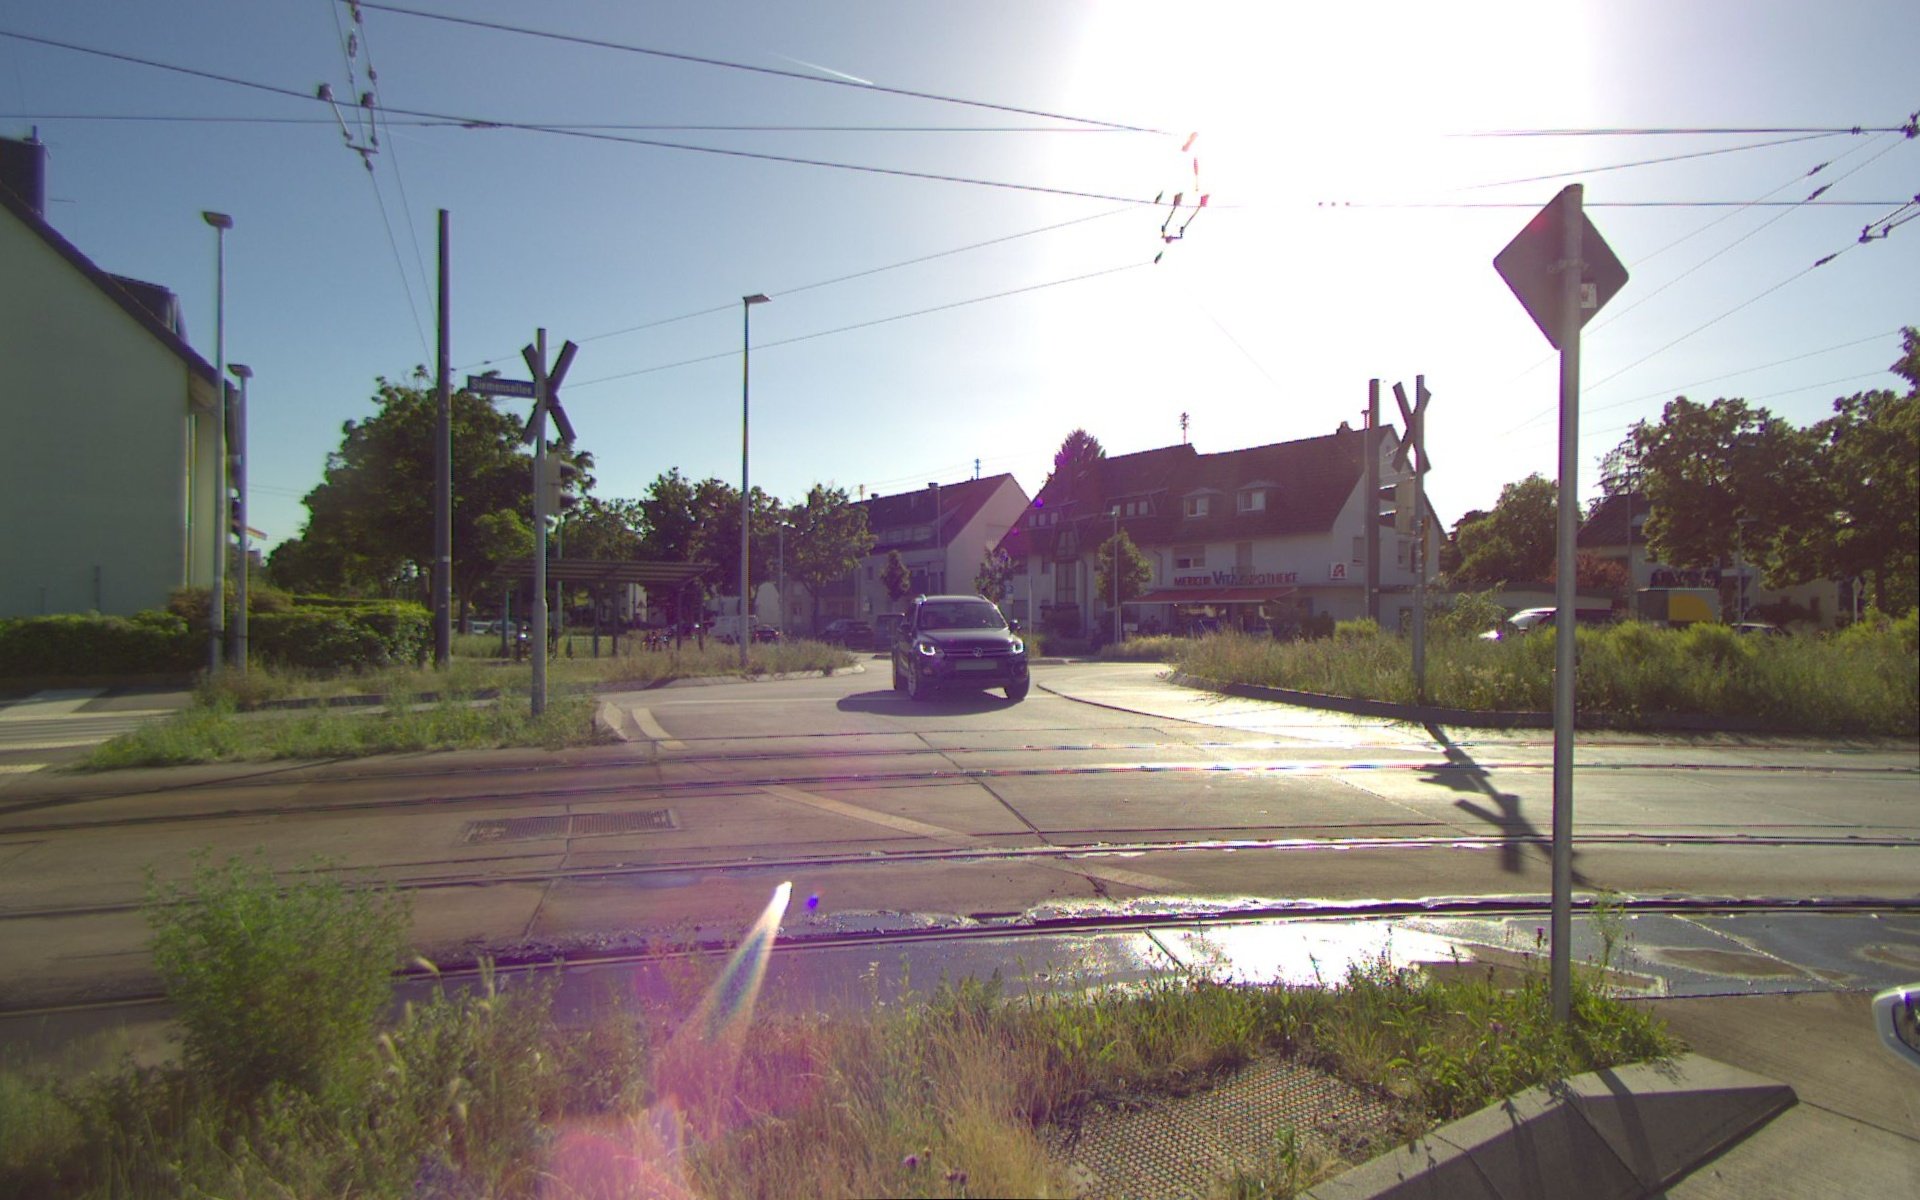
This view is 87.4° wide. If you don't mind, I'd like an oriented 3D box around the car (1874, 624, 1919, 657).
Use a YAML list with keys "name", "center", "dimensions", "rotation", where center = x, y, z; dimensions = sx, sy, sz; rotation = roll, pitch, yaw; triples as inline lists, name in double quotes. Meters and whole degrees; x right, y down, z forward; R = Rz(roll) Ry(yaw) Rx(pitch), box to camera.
- name: "car"
  center: [45.639, 1.933, 48.273]
  dimensions: [3.765, 1.484, 1.787]
  rotation: [1, 1, -36]

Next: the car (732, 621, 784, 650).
- name: "car"
  center: [-13.138, 2.272, 65.172]
  dimensions: [1.903, 1.637, 4.247]
  rotation: [1, 0, -31]

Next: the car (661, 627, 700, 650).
- name: "car"
  center: [-21.997, 2.995, 78.962]
  dimensions: [1.537, 1.699, 4.177]
  rotation: [1, -1, -36]

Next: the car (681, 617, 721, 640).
- name: "car"
  center: [-19.484, 2.116, 75.456]
  dimensions: [1.531, 1.613, 4.035]
  rotation: [1, -1, -36]

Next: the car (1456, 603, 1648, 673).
- name: "car"
  center: [18.364, 1.208, 31.242]
  dimensions: [5.146, 2.007, 1.996]
  rotation: [1, -2, -11]

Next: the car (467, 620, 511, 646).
- name: "car"
  center: [-28.984, 1.984, 61.759]
  dimensions: [1.808, 1.411, 3.831]
  rotation: [1, 0, -35]

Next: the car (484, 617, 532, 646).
- name: "car"
  center: [-25.333, 1.731, 56.241]
  dimensions: [1.808, 1.411, 3.753]
  rotation: [1, 0, -35]

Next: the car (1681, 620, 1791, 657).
- name: "car"
  center: [39.830, 1.968, 51.657]
  dimensions: [1.974, 1.717, 4.023]
  rotation: [1, 0, -26]

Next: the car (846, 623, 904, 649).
- name: "car"
  center: [-4.747, 2.000, 56.005]
  dimensions: [3.106, 1.315, 1.380]
  rotation: [1, 0, -11]

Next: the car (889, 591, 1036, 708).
- name: "car"
  center: [-0.097, 0.709, 16.902]
  dimensions: [1.785, 1.693, 4.250]
  rotation: [-1, 1, -9]

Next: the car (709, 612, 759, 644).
- name: "car"
  center: [-15.975, 1.945, 70.813]
  dimensions: [1.879, 2.041, 4.326]
  rotation: [1, 1, -36]

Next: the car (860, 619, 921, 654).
- name: "car"
  center: [-3.596, 1.874, 51.788]
  dimensions: [3.020, 1.641, 1.409]
  rotation: [1, 1, -6]

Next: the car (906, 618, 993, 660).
- name: "car"
  center: [-0.559, 1.816, 47.526]
  dimensions: [1.981, 1.721, 4.327]
  rotation: [1, 1, -36]
